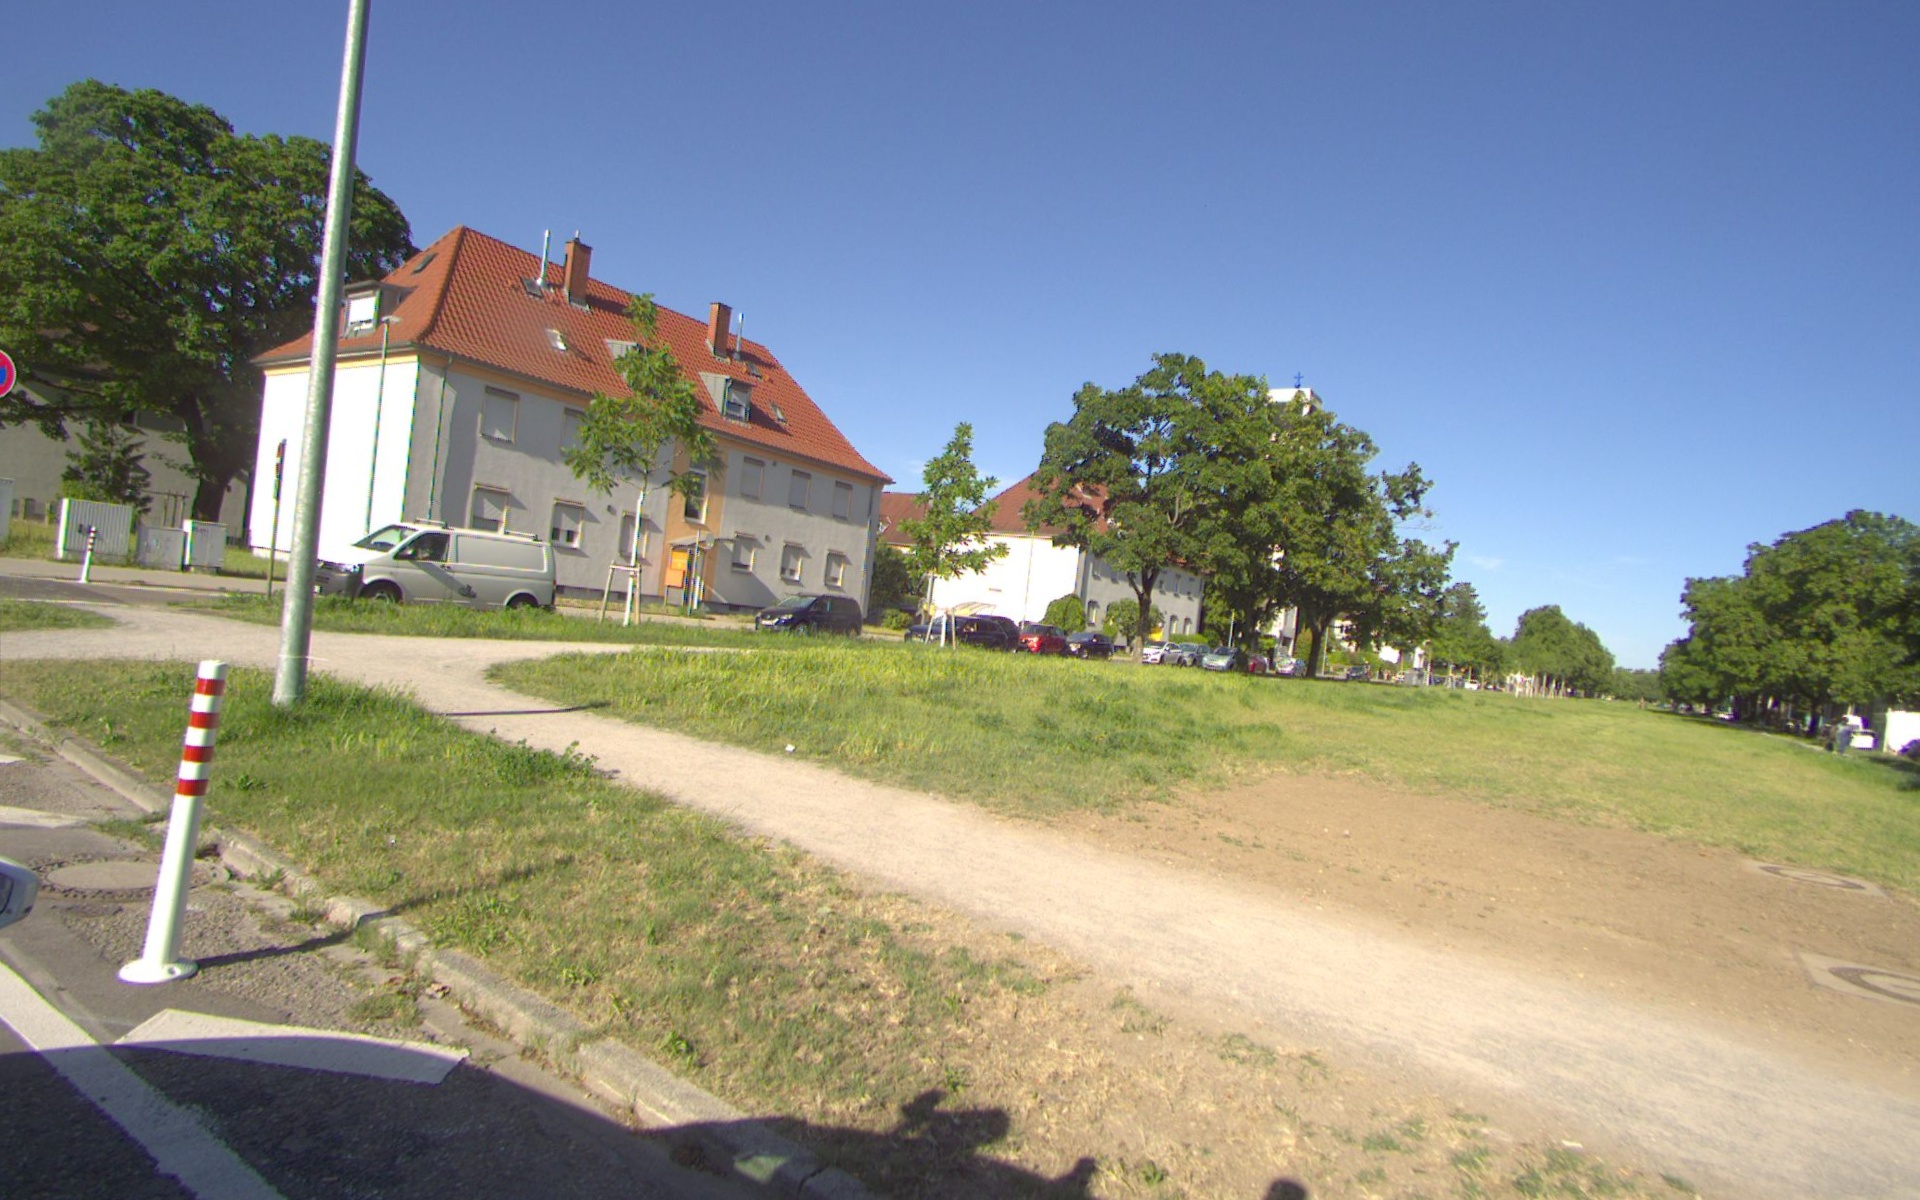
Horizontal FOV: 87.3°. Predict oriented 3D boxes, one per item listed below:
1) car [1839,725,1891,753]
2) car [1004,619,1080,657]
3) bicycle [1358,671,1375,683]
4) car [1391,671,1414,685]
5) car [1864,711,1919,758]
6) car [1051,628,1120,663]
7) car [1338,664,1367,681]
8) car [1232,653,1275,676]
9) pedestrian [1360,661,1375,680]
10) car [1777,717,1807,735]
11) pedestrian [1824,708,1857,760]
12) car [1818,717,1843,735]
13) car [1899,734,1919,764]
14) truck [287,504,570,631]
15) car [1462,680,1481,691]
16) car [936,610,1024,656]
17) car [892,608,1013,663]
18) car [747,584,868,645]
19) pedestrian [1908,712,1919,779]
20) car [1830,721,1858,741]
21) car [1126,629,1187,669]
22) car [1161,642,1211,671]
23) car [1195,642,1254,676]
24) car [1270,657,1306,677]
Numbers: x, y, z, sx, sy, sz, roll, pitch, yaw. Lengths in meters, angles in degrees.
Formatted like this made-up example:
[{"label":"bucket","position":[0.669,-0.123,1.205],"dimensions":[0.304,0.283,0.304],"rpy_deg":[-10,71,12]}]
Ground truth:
[{"label":"car","position":[63.657,9.771,70.834],"dimensions":[2.049,1.484,4.713],"rpy_deg":[7,-1,36]},{"label":"car","position":[4.003,1.868,48.663],"dimensions":[1.695,1.459,4.128],"rpy_deg":[7,-1,35]},{"label":"bicycle","position":[38.346,7.288,94.797],"dimensions":[1.037,0.949,2.759],"rpy_deg":[7,-1,30]},{"label":"car","position":[52.804,9.297,120.107],"dimensions":[1.695,1.358,3.798],"rpy_deg":[7,-1,35]},{"label":"car","position":[54.775,7.825,58.480],"dimensions":[2.512,2.362,5.901],"rpy_deg":[7,-1,36]},{"label":"car","position":[6.614,2.377,52.535],"dimensions":[1.695,1.459,4.128],"rpy_deg":[7,-1,35]},{"label":"car","position":[39.450,7.295,101.122],"dimensions":[1.695,1.358,3.798],"rpy_deg":[7,-1,35]},{"label":"car","position":[21.368,4.694,73.130],"dimensions":[1.695,1.358,3.798],"rpy_deg":[7,-1,35]},{"label":"pedestrian","position":[38.493,6.649,94.914],"dimensions":[1.036,1.730,0.691],"rpy_deg":[7,1,31]},{"label":"car","position":[89.343,13.483,108.117],"dimensions":[2.049,1.484,4.713],"rpy_deg":[7,-1,36]},{"label":"pedestrian","position":[34.205,5.200,39.074],"dimensions":[0.713,1.900,0.627],"rpy_deg":[7,1,34]},{"label":"car","position":[106.801,15.461,123.445],"dimensions":[1.837,1.868,3.982],"rpy_deg":[7,0,36]},{"label":"car","position":[51.156,7.964,52.953],"dimensions":[1.905,1.361,4.097],"rpy_deg":[7,-1,36]},{"label":"truck","position":[-11.203,-0.614,21.583],"dimensions":[1.968,2.061,4.861],"rpy_deg":[7,0,35]},{"label":"car","position":[71.708,12.003,140.926],"dimensions":[1.695,1.358,3.798],"rpy_deg":[7,-1,35]},{"label":"car","position":[0.923,1.453,43.874],"dimensions":[1.695,1.602,4.128],"rpy_deg":[7,0,35]},{"label":"car","position":[-0.183,1.328,36.682],"dimensions":[1.968,1.543,4.744],"rpy_deg":[7,-1,34]},{"label":"car","position":[-5.238,0.536,35.034],"dimensions":[1.695,1.684,4.052],"rpy_deg":[7,0,35]},{"label":"pedestrian","position":[27.827,4.221,28.875],"dimensions":[0.634,1.900,0.627],"rpy_deg":[7,1,34]},{"label":"car","position":[99.186,14.659,112.907],"dimensions":[1.837,1.868,3.981],"rpy_deg":[8,1,36]},{"label":"car","position":[11.775,2.943,60.084],"dimensions":[1.842,2.038,4.243],"rpy_deg":[7,-1,35]},{"label":"car","position":[14.459,3.638,64.218],"dimensions":[1.695,1.517,3.798],"rpy_deg":[7,0,35]},{"label":"car","position":[15.818,3.551,60.052],"dimensions":[1.859,1.628,4.234],"rpy_deg":[7,0,36]},{"label":"car","position":[27.090,5.540,82.982],"dimensions":[1.695,1.358,3.798],"rpy_deg":[7,-1,35]}]
